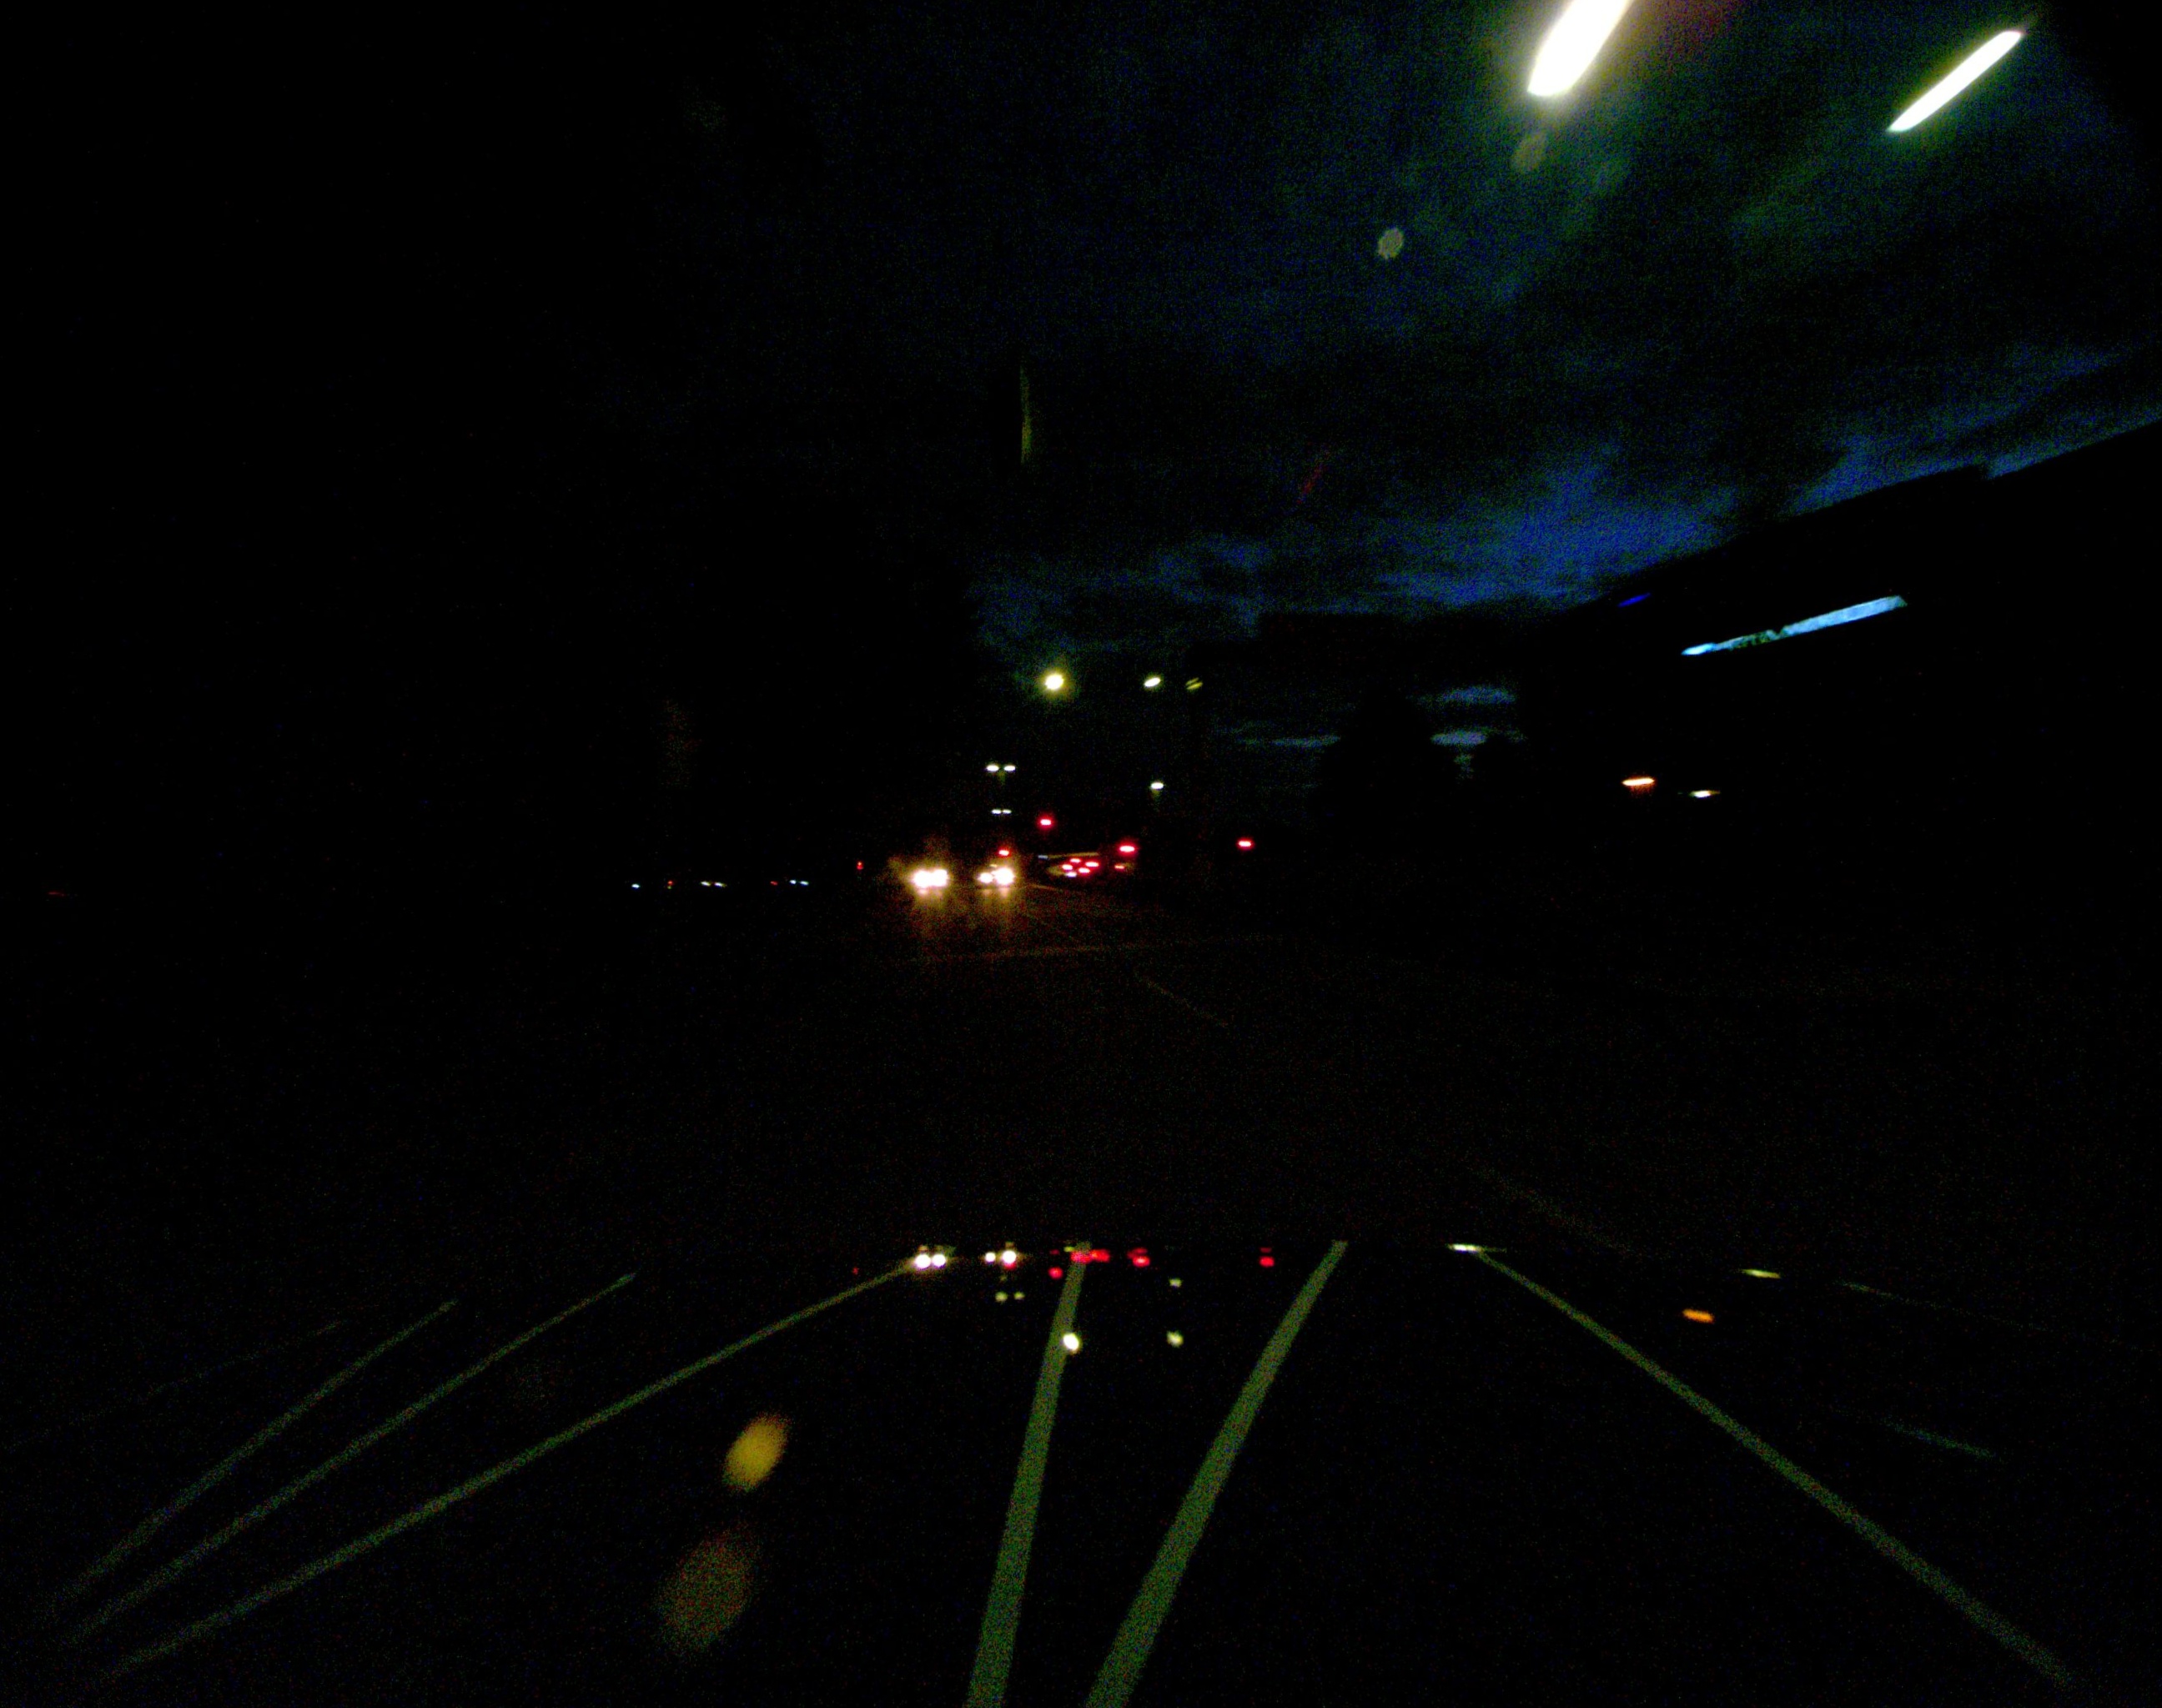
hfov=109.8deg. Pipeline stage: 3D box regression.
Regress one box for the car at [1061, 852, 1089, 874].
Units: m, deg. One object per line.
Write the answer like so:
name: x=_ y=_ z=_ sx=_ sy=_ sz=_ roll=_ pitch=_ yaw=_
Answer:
car: x=-0.592 y=0.861 z=68.467 sx=1.849 sy=1.803 sz=4.772 roll=-2 pitch=-2 yaw=-9

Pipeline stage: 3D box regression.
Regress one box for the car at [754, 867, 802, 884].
car: x=-32.399 y=2.289 z=81.261 sx=4.419 sy=1.672 sz=1.914 roll=-1 pitch=-2 yaw=-7

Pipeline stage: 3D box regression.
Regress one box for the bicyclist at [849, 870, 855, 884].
bicyclist: x=-27.518 y=2.778 z=91.133 sx=0.604 sy=1.641 sz=0.999 roll=-2 pitch=-1 yaw=-14

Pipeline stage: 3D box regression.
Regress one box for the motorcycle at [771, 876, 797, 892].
motorcycle: x=-25.128 y=2.561 z=64.289 sx=1.824 sy=1.175 sz=0.847 roll=-6 pitch=4 yaw=-44

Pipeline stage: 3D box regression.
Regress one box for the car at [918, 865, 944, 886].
car: x=-11.390 y=1.641 z=57.528 sx=1.672 sy=1.471 sz=3.772 roll=-2 pitch=-1 yaw=-14

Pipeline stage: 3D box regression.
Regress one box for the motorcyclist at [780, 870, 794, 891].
motorcyclist: x=-24.941 y=2.240 z=64.443 sx=0.791 sy=1.750 sz=0.682 roll=-6 pitch=4 yaw=-44

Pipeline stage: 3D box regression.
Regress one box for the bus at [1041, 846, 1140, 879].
bus: x=1.268 y=1.058 z=96.880 sx=12.283 sy=3.766 sz=2.613 roll=-2 pitch=-2 yaw=-16

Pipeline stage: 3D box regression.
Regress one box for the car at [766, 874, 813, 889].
car: x=-32.550 y=3.071 z=84.844 sx=4.585 sy=1.623 sz=1.857 roll=-1 pitch=-2 yaw=-8

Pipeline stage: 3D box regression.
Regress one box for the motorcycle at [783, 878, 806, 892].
motorcycle: x=-24.094 y=2.616 z=63.991 sx=1.579 sy=1.028 sz=0.721 roll=-6 pitch=5 yaw=-38

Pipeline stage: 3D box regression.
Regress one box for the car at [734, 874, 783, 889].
car: x=-32.889 y=2.802 z=77.622 sx=4.290 sy=1.436 sz=1.786 roll=-1 pitch=-2 yaw=-7

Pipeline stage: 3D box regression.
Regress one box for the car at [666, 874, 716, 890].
car: x=-39.335 y=2.832 z=76.697 sx=4.000 sy=1.515 sz=1.836 roll=-1 pitch=-1 yaw=-8

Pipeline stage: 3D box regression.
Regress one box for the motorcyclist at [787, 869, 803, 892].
motorcyclist: x=-24.105 y=2.218 z=63.964 sx=0.872 sy=1.799 sz=0.914 roll=-7 pitch=5 yaw=-38

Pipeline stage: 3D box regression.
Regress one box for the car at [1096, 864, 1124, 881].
car: x=2.547 y=1.645 z=67.387 sx=1.775 sy=1.438 sz=3.779 roll=-2 pitch=-2 yaw=-9

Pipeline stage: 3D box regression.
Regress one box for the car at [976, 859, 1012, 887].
car: x=-5.823 y=1.264 z=50.395 sx=1.672 sy=1.643 sz=4.406 roll=-4 pitch=0 yaw=-14

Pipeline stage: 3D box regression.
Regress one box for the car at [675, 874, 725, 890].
car: x=-40.185 y=2.970 z=80.239 sx=4.362 sy=1.616 sz=1.751 roll=-1 pitch=-2 yaw=-7

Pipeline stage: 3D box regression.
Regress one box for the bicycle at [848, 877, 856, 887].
bicycle: x=-27.491 y=3.345 z=91.222 sx=0.695 sy=1.094 sz=2.066 roll=-2 pitch=-2 yaw=-14

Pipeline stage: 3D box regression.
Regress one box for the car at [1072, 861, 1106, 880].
car: x=0.593 y=1.322 z=60.892 sx=1.877 sy=1.389 sz=4.835 roll=-2 pitch=-1 yaw=-10

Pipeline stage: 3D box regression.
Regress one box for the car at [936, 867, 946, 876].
car: x=-27.748 y=3.511 z=150.779 sx=1.699 sy=1.586 sz=3.923 roll=-2 pitch=-3 yaw=-9
